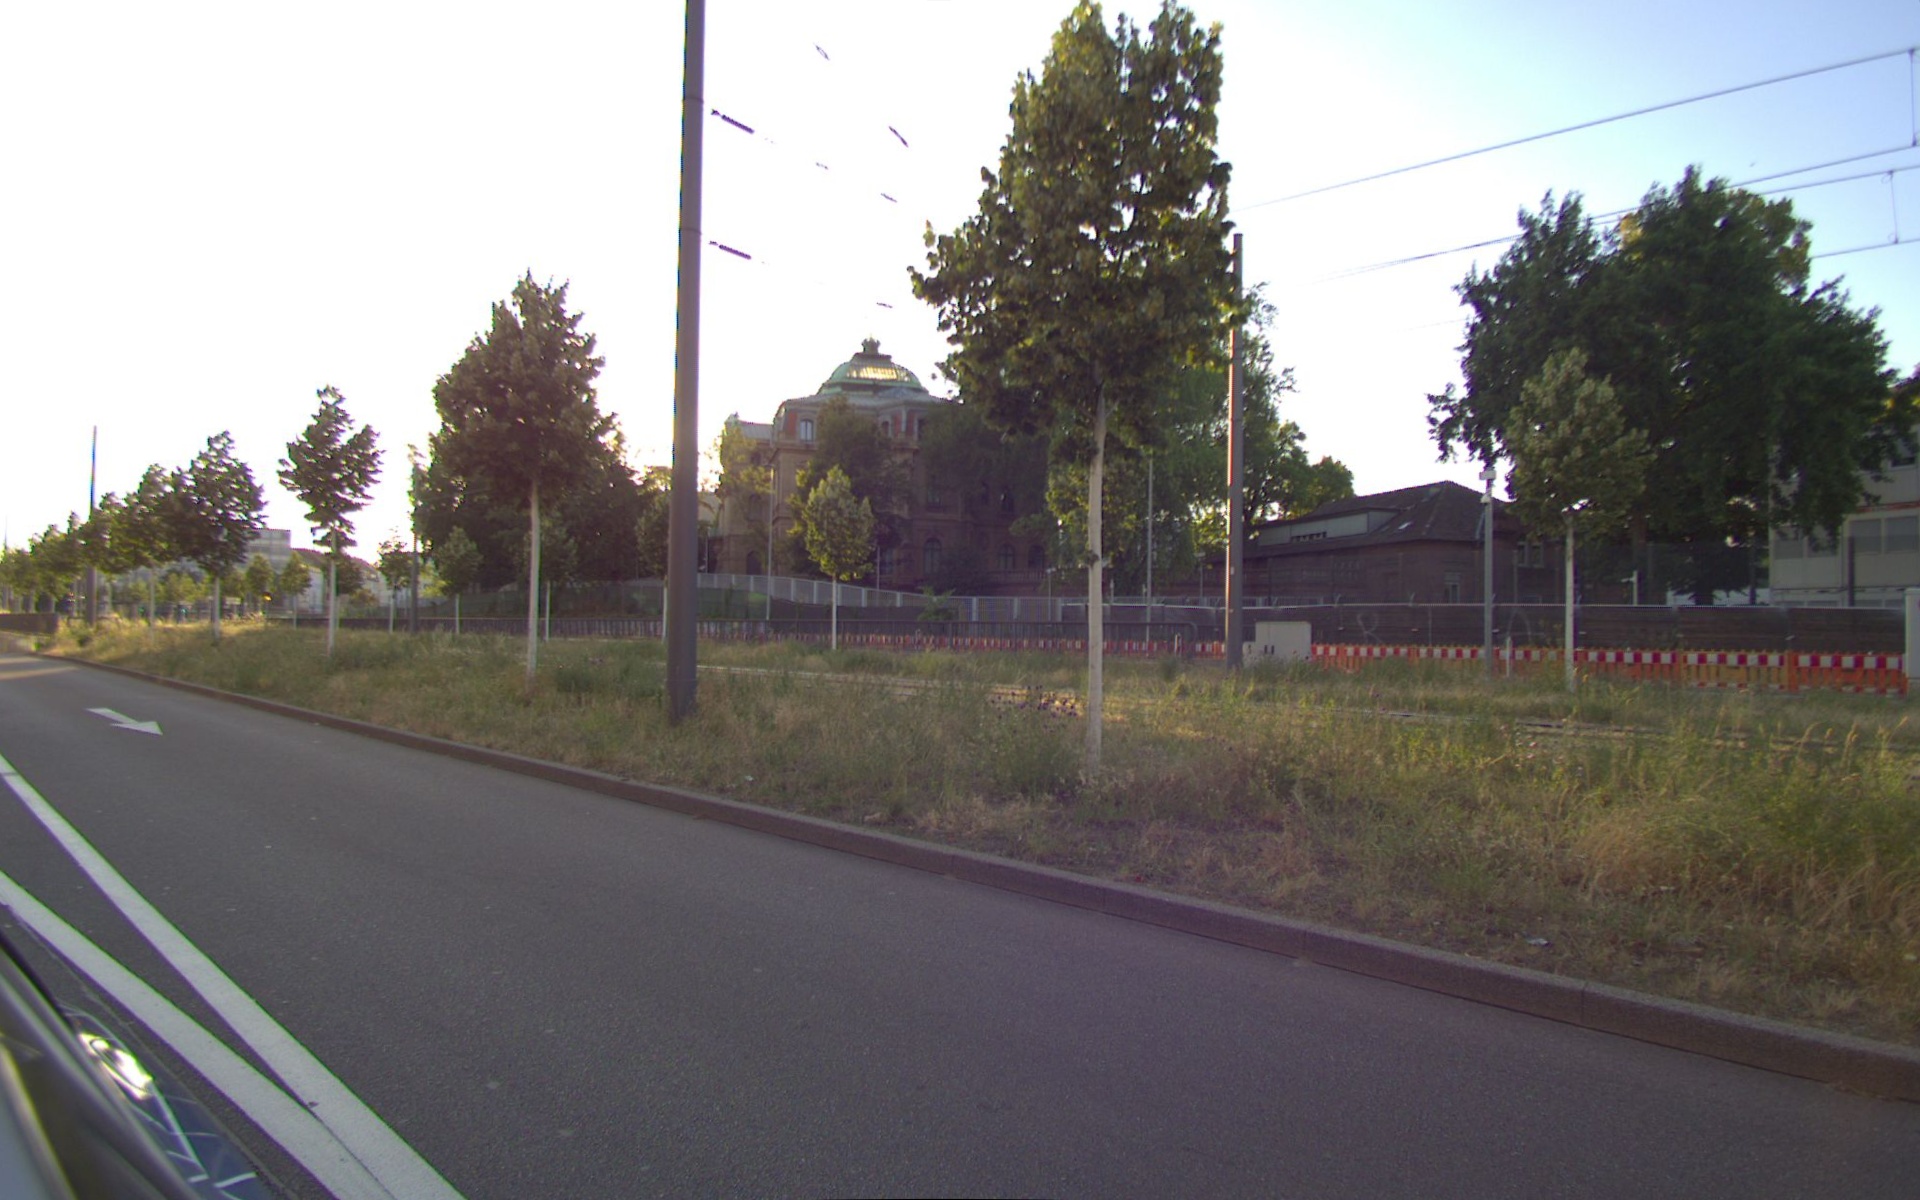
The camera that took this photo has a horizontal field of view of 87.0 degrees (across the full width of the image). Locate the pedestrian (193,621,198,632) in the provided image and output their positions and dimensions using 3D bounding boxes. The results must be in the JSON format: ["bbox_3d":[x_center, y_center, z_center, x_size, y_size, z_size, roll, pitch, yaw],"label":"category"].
[{"bbox_3d":[-121.684,4.180,161.105,0.637,1.725,0.839,2,-2,-40],"label":"pedestrian"}]
